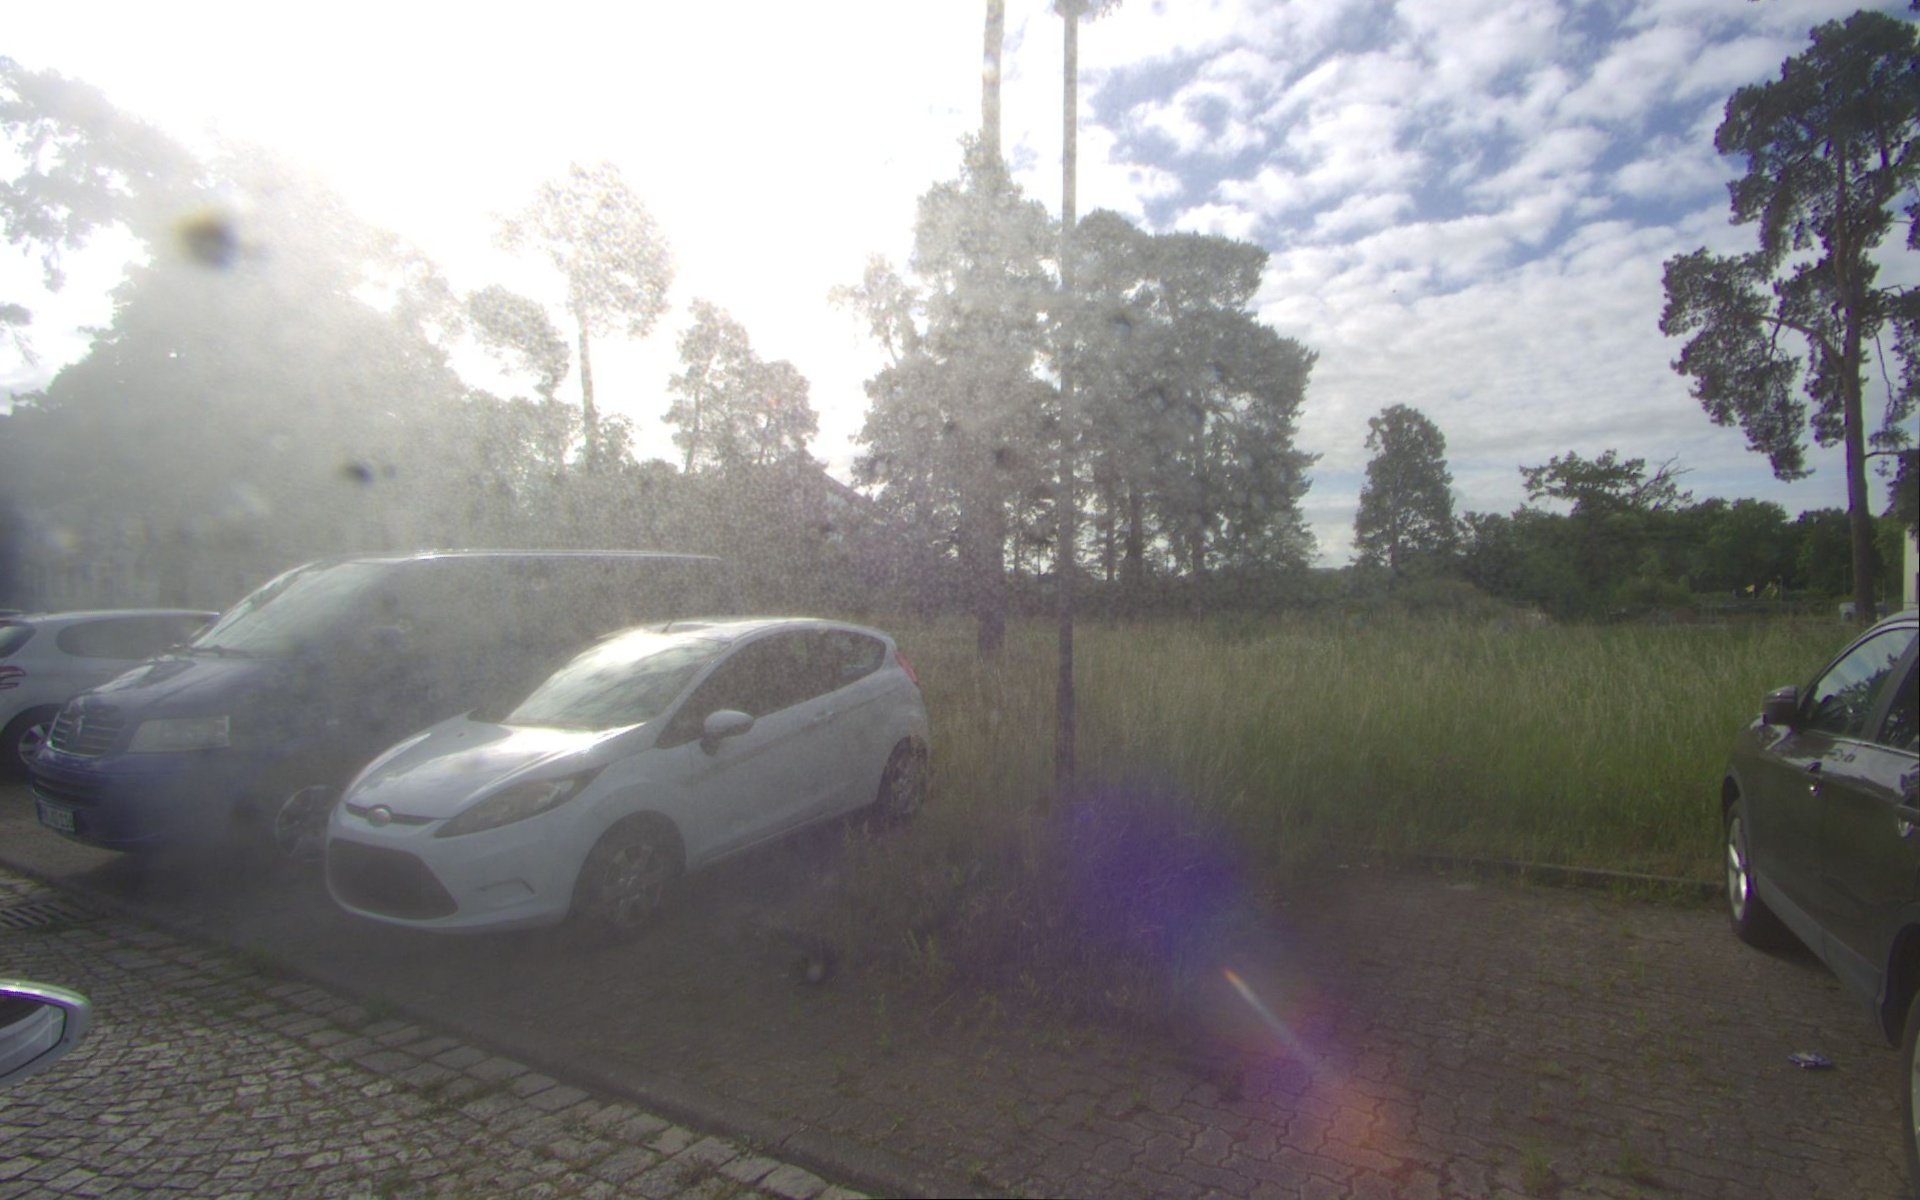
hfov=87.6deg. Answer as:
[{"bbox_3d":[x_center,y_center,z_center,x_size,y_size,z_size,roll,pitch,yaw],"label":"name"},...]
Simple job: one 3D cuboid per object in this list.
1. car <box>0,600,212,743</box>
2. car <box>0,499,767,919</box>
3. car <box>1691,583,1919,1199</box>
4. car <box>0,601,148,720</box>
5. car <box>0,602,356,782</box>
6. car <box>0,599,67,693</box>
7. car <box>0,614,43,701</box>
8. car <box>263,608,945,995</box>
[{"bbox_3d":[-10.929,0.766,11.372,1.635,1.526,3.602,1,0,20],"label":"car"},{"bbox_3d":[-3.670,0.558,7.427,1.712,2.067,4.776,1,0,30],"label":"car"},{"bbox_3d":[3.637,0.778,3.043,1.735,1.601,3.947,1,0,28],"label":"car"},{"bbox_3d":[-13.108,0.776,13.256,1.635,1.524,3.296,1,0,20],"label":"car"},{"bbox_3d":[-8.256,0.795,10.156,1.638,1.524,3.289,1,0,29],"label":"car"},{"bbox_3d":[-17.157,0.743,16.013,1.637,1.564,3.987,1,0,25],"label":"car"},{"bbox_3d":[-15.586,0.862,14.325,1.637,1.284,3.292,1,0,25],"label":"car"},{"bbox_3d":[-1.703,0.819,5.998,1.629,1.443,3.718,1,1,28],"label":"car"}]
